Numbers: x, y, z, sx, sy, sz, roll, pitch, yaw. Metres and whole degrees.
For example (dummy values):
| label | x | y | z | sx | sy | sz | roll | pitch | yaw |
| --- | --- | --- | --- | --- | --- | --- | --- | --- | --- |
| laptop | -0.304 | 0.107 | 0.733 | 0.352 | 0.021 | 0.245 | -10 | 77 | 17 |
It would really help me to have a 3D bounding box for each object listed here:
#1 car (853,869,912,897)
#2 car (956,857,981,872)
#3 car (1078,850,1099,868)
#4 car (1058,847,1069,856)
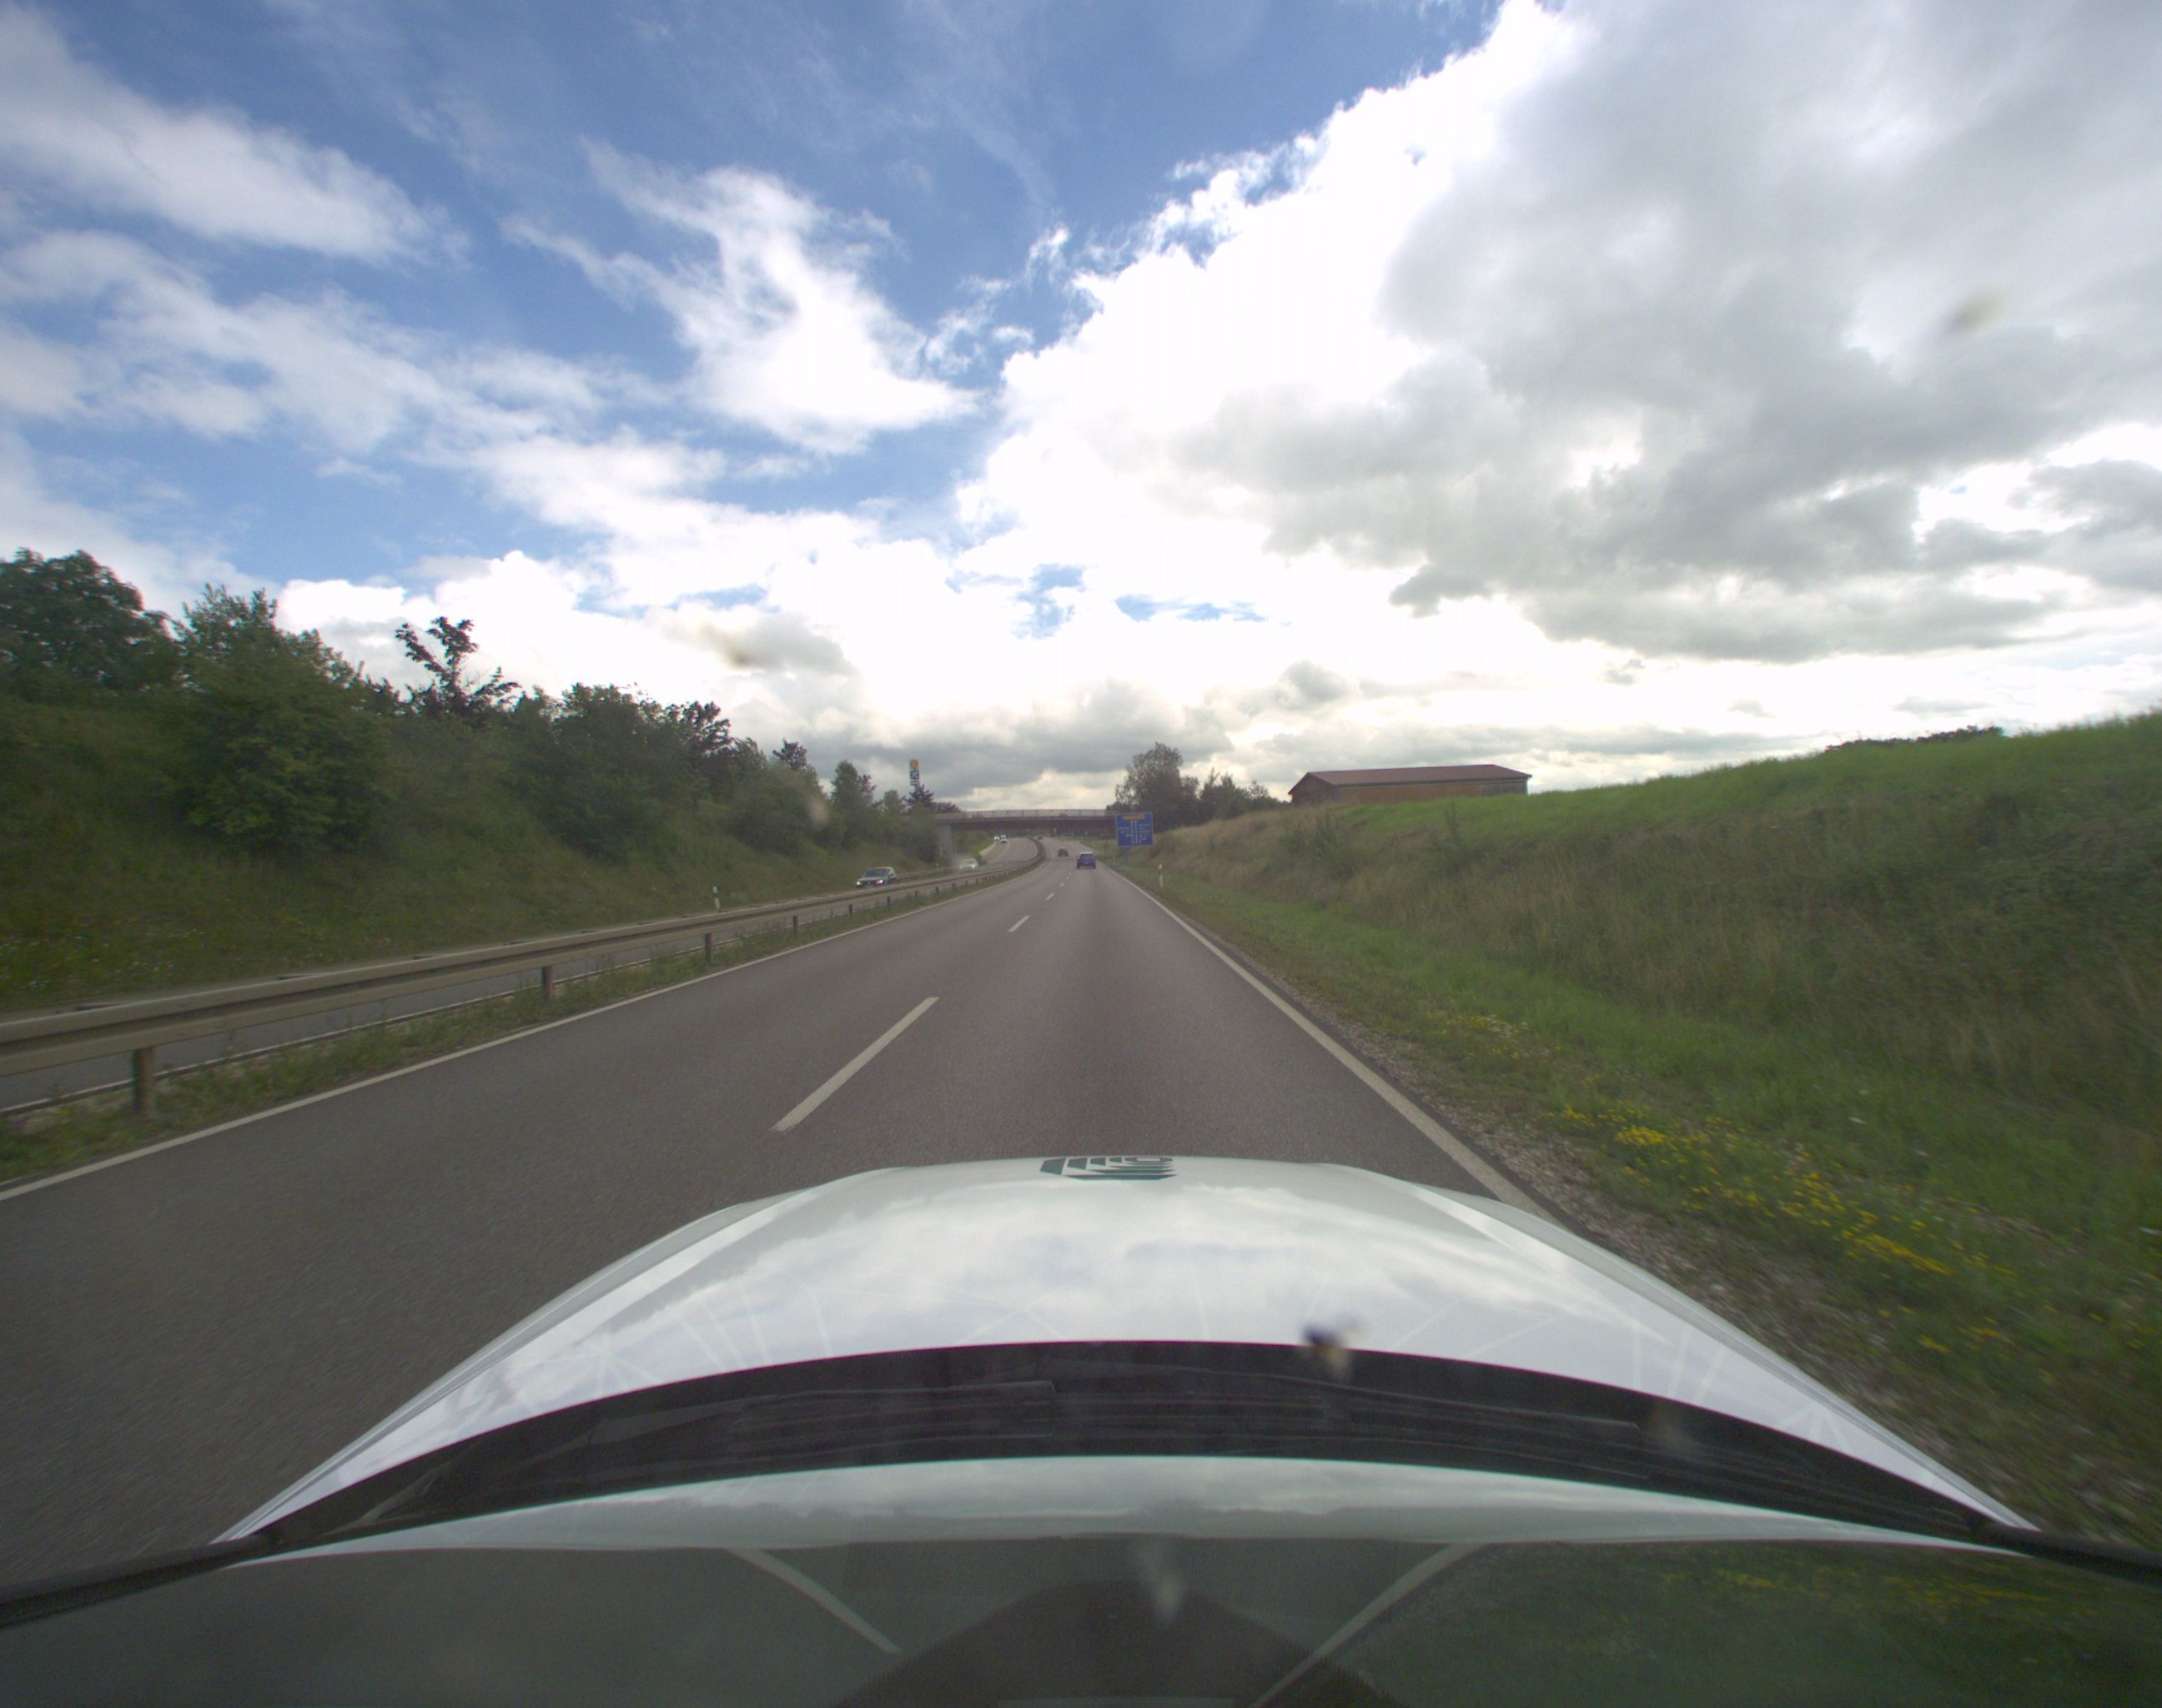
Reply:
| label | x | y | z | sx | sy | sz | roll | pitch | yaw |
| --- | --- | --- | --- | --- | --- | --- | --- | --- | --- |
| car | -11.162 | 1.604 | 46.120 | 1.986 | 1.304 | 4.823 | -2 | 0 | 1 |
| car | -12.221 | 1.152 | 88.587 | 1.987 | 1.453 | 4.000 | -2 | 1 | 0 |
| car | 0.728 | 0.508 | 82.783 | 2.026 | 1.660 | 4.543 | -1 | 1 | 0 |
| car | -3.108 | -0.489 | 144.376 | 1.912 | 1.453 | 4.362 | -2 | 1 | -1 |
